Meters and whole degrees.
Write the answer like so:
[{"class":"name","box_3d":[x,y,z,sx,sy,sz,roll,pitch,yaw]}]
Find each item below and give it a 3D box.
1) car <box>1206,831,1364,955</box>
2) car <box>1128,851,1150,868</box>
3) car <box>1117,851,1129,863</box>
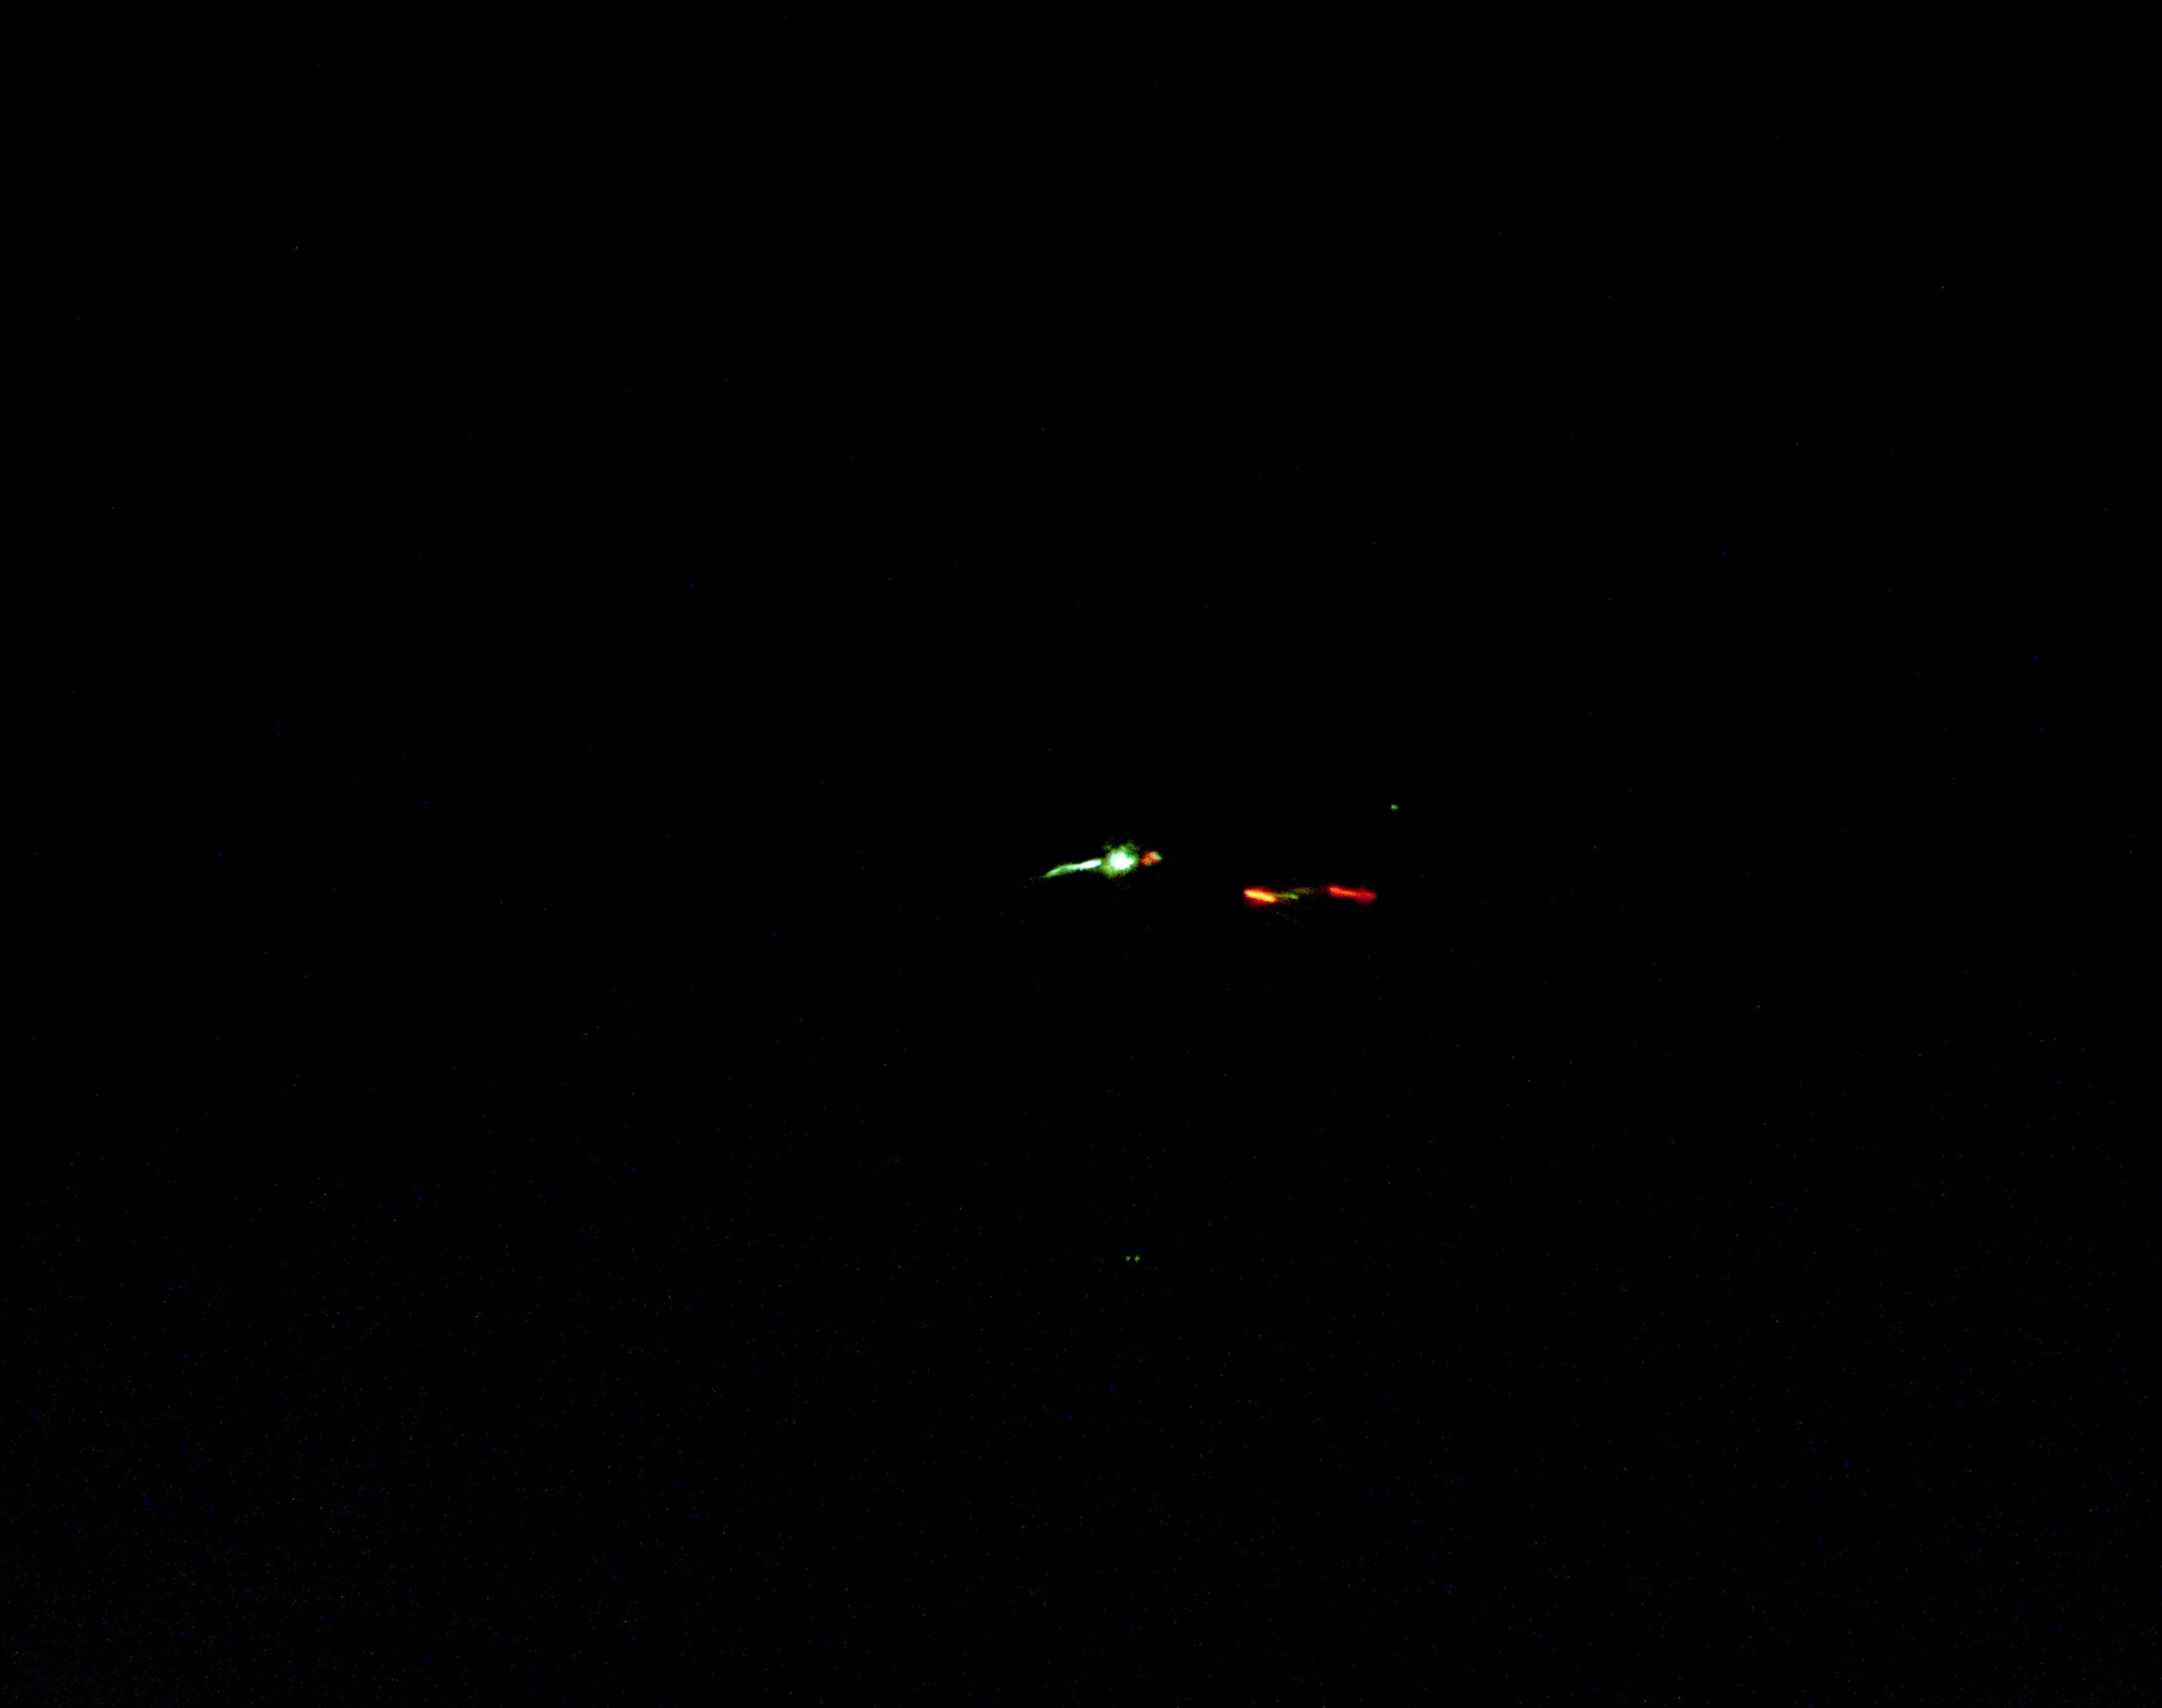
[{"class":"car","box_3d":[3.505,0.595,13.915,1.837,1.860,4.429,-2,0,3]},{"class":"car","box_3d":[5.442,0.501,71.924,1.837,1.474,4.069,-2,0,1]},{"class":"car","box_3d":[6.295,0.457,113.601,1.746,1.623,3.736,-2,0,3]}]
